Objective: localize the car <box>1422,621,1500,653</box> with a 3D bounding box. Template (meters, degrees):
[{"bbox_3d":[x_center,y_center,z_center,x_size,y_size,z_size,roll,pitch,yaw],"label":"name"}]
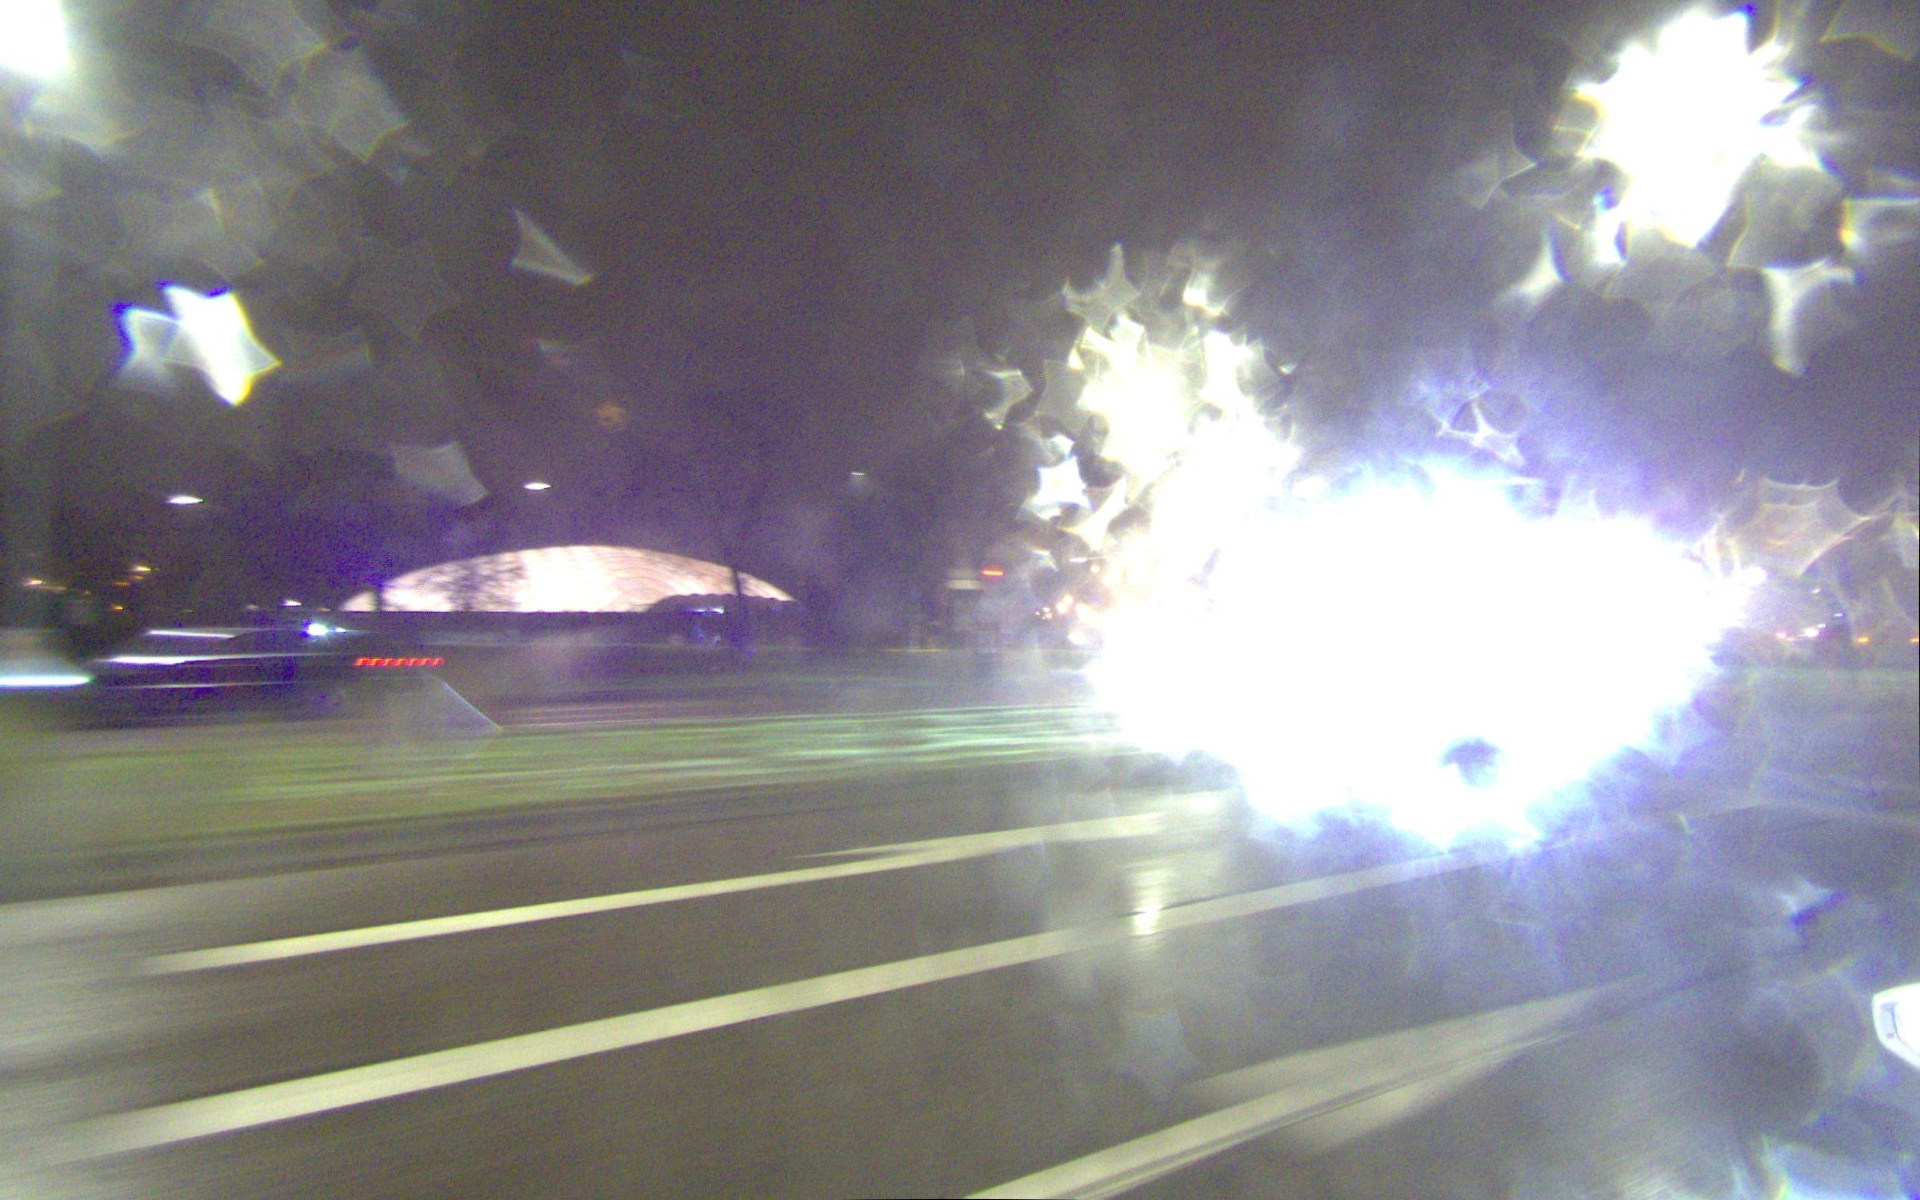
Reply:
[{"bbox_3d":[34.329,2.515,68.923,4.337,2.040,1.999,1,0,-3],"label":"car"}]

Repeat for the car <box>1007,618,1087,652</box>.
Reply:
[{"bbox_3d":[4.542,1.808,52.401,3.919,1.595,1.761,1,0,13],"label":"car"}]

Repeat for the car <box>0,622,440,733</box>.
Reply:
[{"bbox_3d":[-11.091,1.087,15.517,5.291,1.421,1.982,1,0,-33],"label":"car"}]

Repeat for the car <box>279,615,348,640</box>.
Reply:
[{"bbox_3d":[-42.678,1.800,66.302,3.920,1.550,1.680,1,0,17],"label":"car"}]

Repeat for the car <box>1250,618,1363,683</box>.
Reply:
[{"bbox_3d":[10.620,1.450,30.544,2.035,1.738,5.026,1,0,33],"label":"car"}]

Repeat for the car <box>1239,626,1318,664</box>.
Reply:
[{"bbox_3d":[14.648,2.010,46.025,1.970,1.561,4.396,1,0,40],"label":"car"}]

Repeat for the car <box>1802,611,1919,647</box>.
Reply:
[{"bbox_3d":[57.786,1.794,63.872,6.209,2.117,2.507,1,0,35],"label":"car"}]

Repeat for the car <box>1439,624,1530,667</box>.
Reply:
[{"bbox_3d":[23.168,1.954,44.253,5.096,1.755,2.036,1,0,-44],"label":"car"}]
